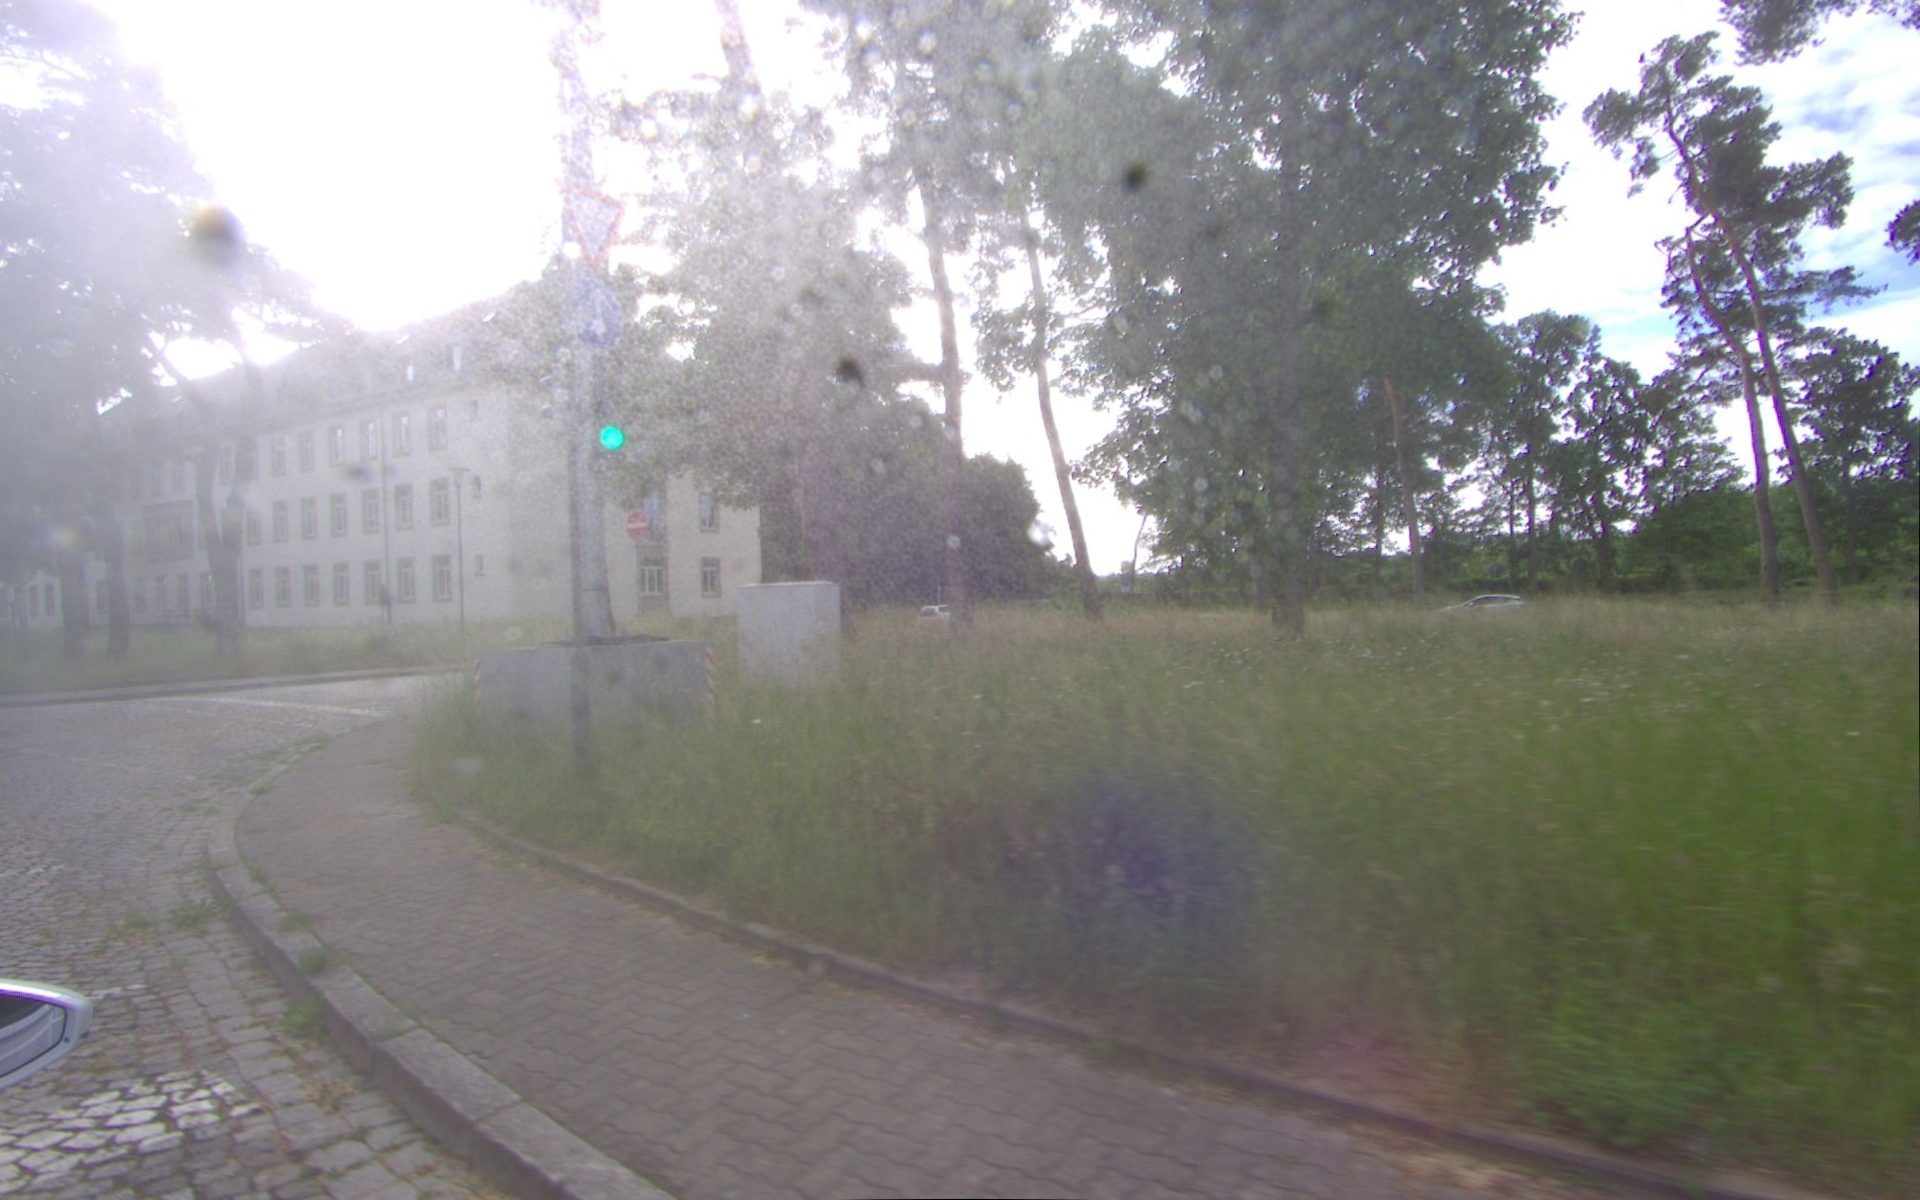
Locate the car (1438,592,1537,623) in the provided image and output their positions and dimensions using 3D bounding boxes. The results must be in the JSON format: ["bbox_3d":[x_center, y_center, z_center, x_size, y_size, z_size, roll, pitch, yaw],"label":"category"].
[{"bbox_3d":[26.331,0.379,50.183,4.185,1.435,1.883,-1,0,22],"label":"car"}]

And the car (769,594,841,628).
[{"bbox_3d":[-10.951,0.769,71.170,2.182,2.318,5.169,-1,0,32],"label":"car"}]

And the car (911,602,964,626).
[{"bbox_3d":[-1.463,0.933,66.326,1.971,1.527,3.475,-1,0,32],"label":"car"}]
